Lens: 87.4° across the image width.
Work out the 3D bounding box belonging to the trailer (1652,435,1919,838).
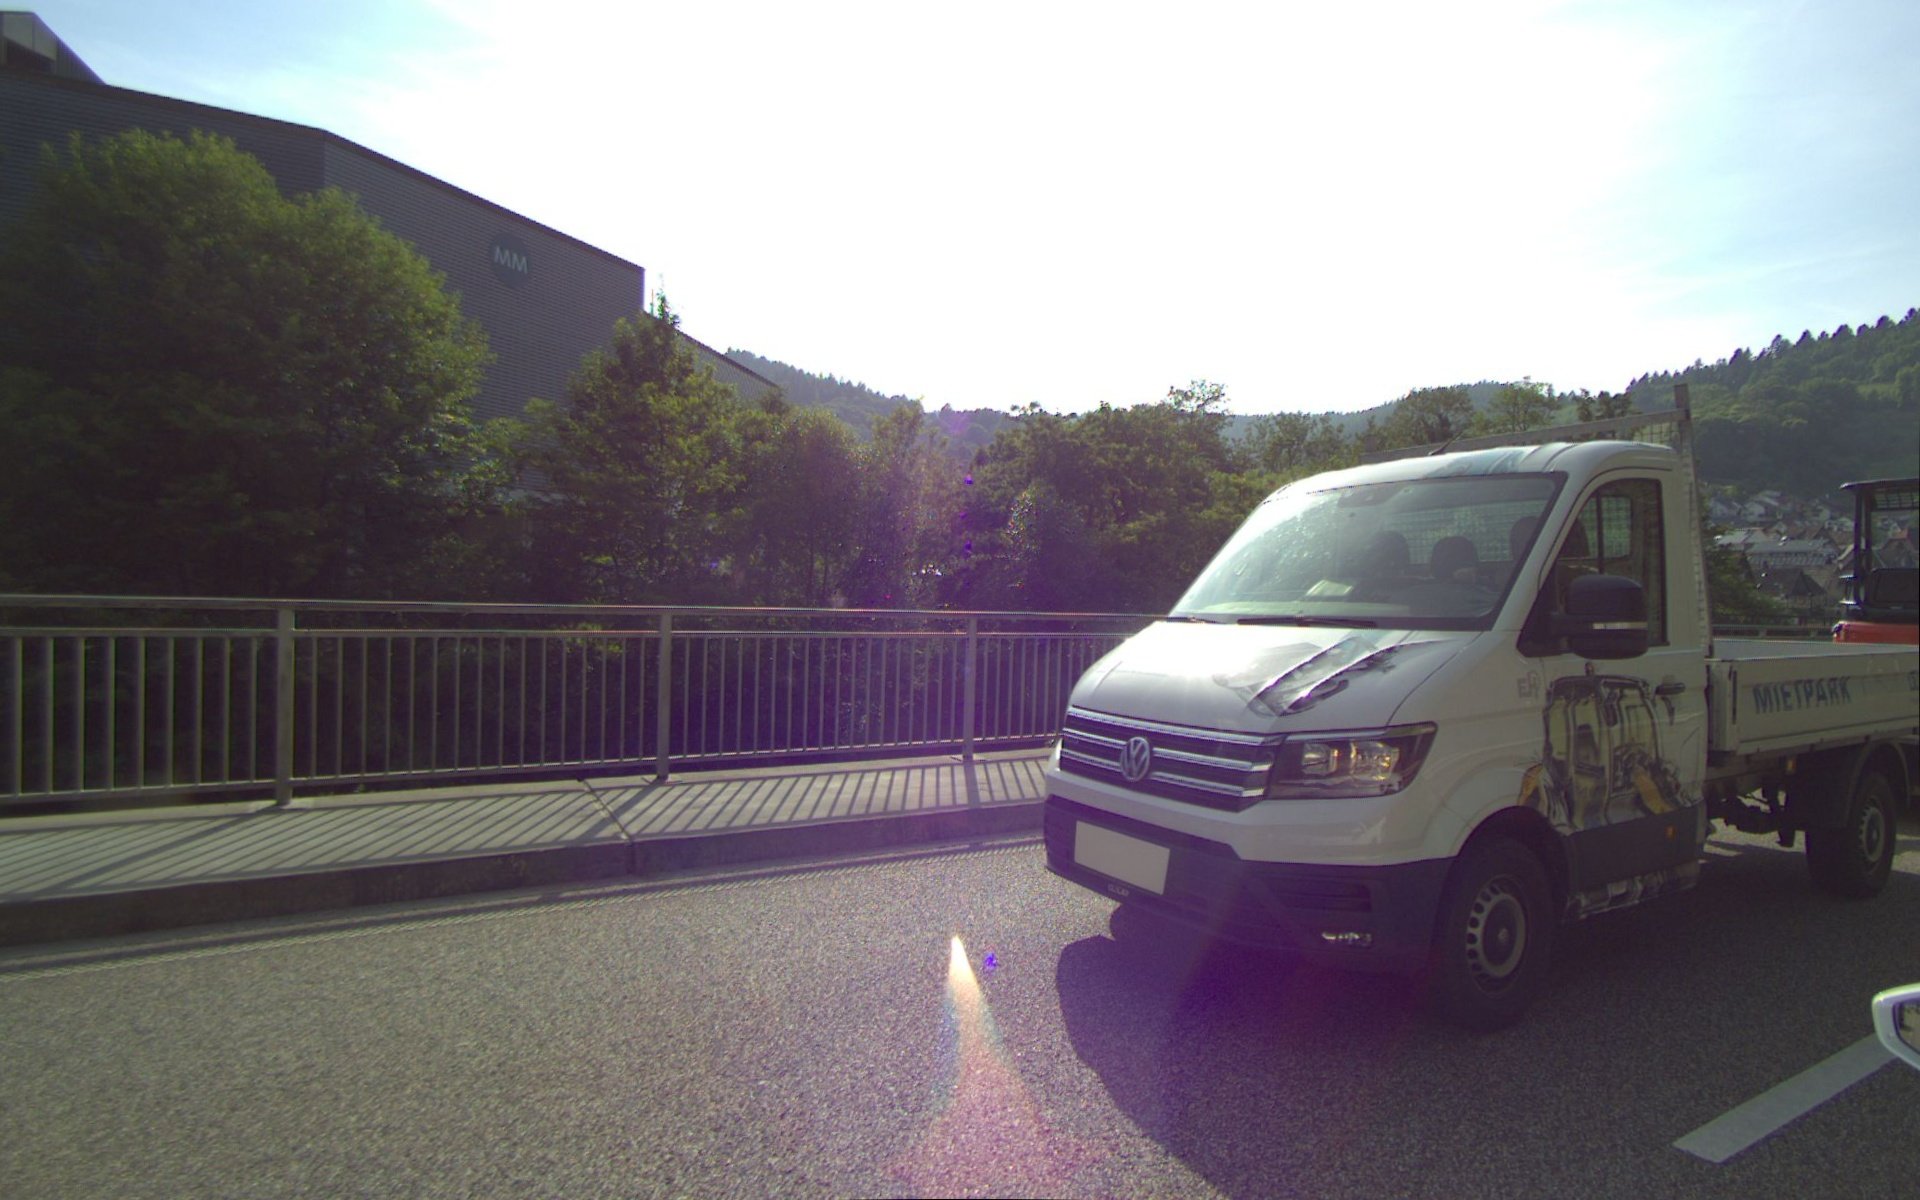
[{"bbox_3d":[8.537,0.305,8.734,5.286,2.752,2.111,2,0,-31],"label":"trailer"}]

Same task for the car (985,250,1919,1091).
[{"bbox_3d":[3.469,0.279,5.663,6.501,2.565,2.148,1,0,-31],"label":"car"}]
